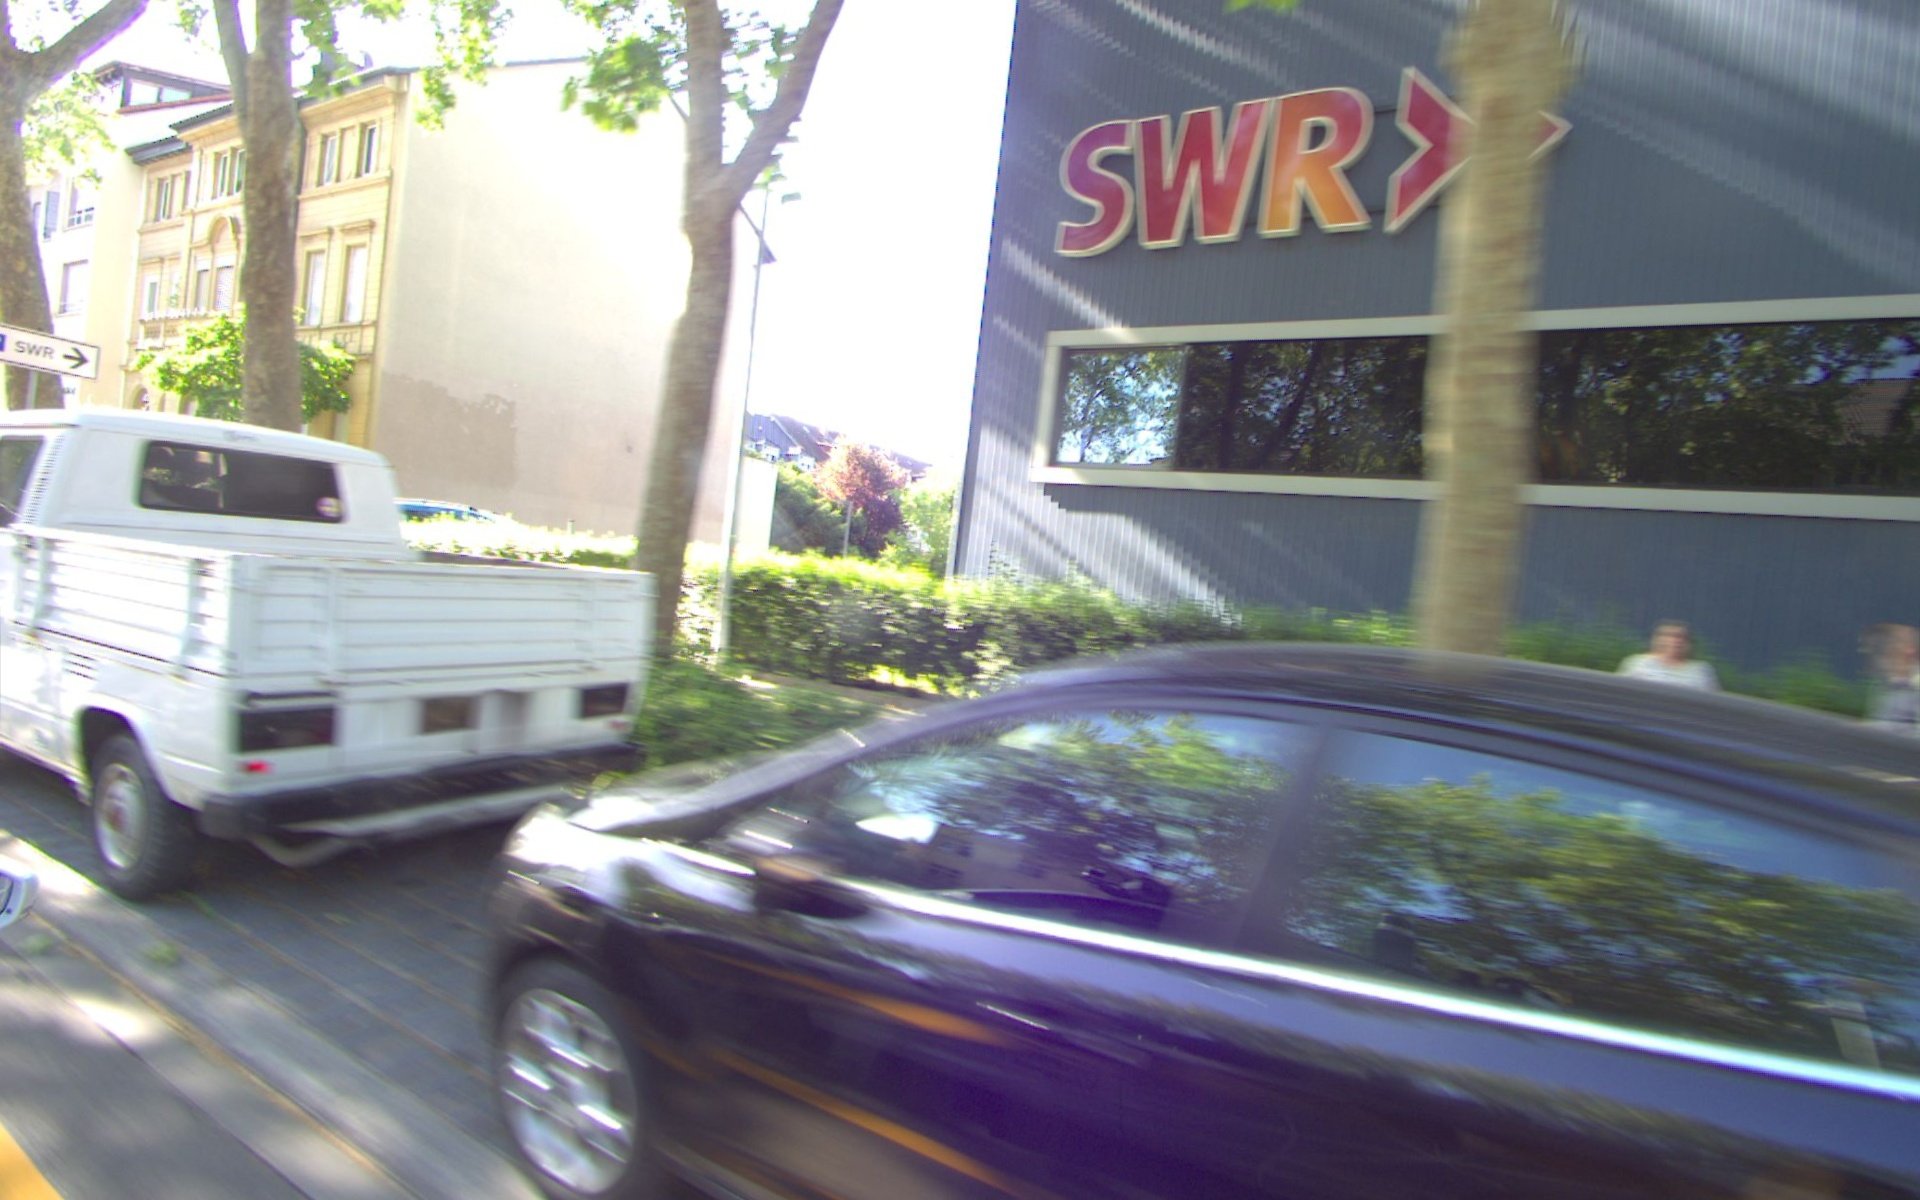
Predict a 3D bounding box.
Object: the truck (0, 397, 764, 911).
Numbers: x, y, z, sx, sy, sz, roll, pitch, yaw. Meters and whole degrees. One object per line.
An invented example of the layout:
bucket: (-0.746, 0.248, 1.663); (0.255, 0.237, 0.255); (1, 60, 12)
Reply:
truck: (-3.467, 0.050, 5.635); (4.379, 1.905, 1.878); (6, 1, 31)

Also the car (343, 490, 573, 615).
car: (-9.730, -0.868, 19.720); (3.444, 1.875, 1.710); (8, -1, -2)

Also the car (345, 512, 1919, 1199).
car: (0.522, 0.748, 2.387); (4.035, 1.496, 1.749); (7, 0, 33)

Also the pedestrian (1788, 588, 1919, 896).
pedestrian: (5.533, 0.842, 5.927); (0.663, 1.668, 0.707); (10, 0, 29)

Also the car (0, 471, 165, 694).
car: (-8.504, -0.326, 8.093); (4.600, 1.526, 1.823); (6, 1, 32)
